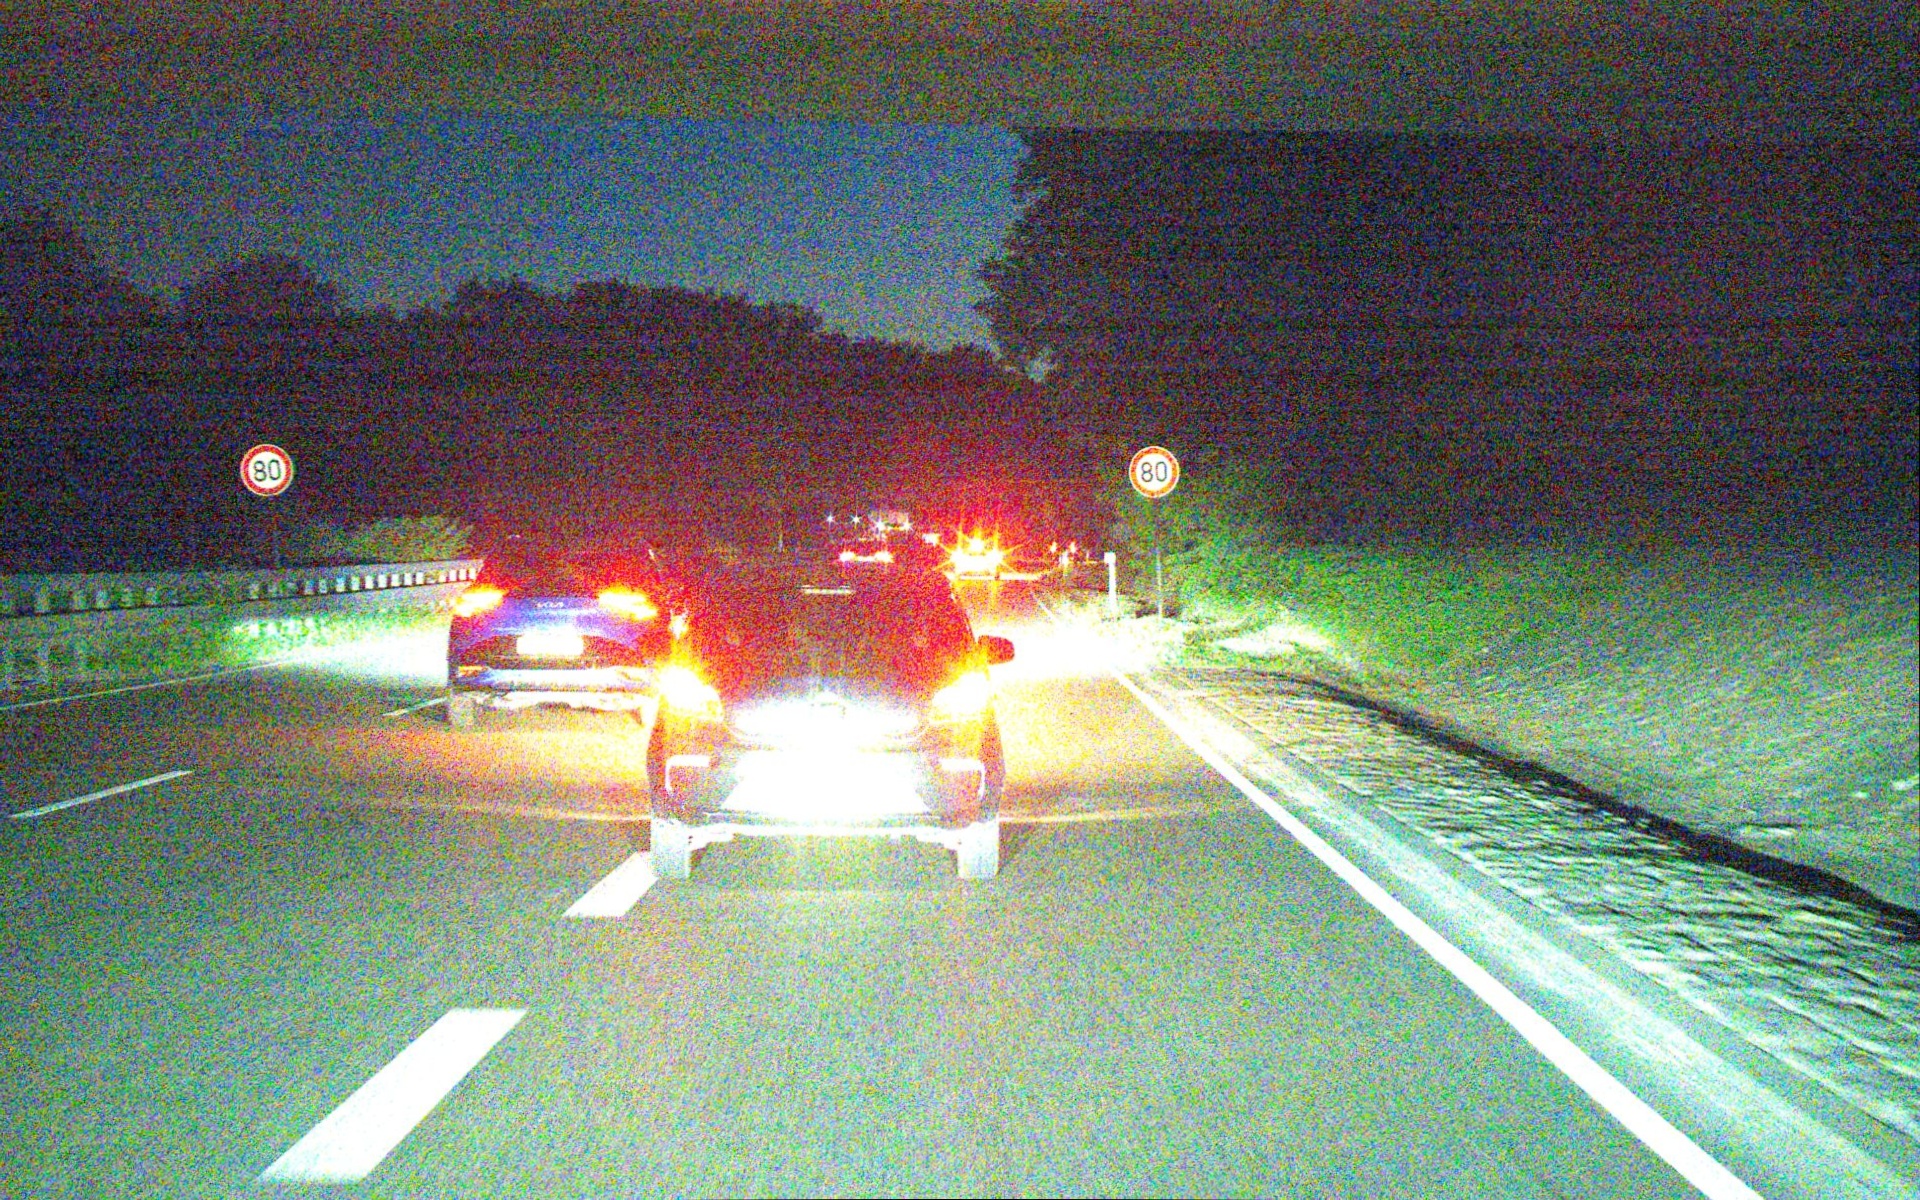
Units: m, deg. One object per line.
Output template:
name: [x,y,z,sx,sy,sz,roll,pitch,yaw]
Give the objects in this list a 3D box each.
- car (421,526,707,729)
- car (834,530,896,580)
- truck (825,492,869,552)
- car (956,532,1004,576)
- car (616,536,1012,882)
car: [-3.389,0.175,30.221,1.940,1.603,4.644,1,1,0]
car: [-3.278,-1.550,119.706,1.951,1.533,4.241,-4,-1,0]
truck: [-7.953,-5.528,243.337,2.676,4.163,5.868,1,1,2]
car: [0.743,-1.767,131.189,1.733,1.612,3.799,1,1,-1]
car: [-0.770,0.451,17.009,1.691,1.473,4.001,1,1,-4]
